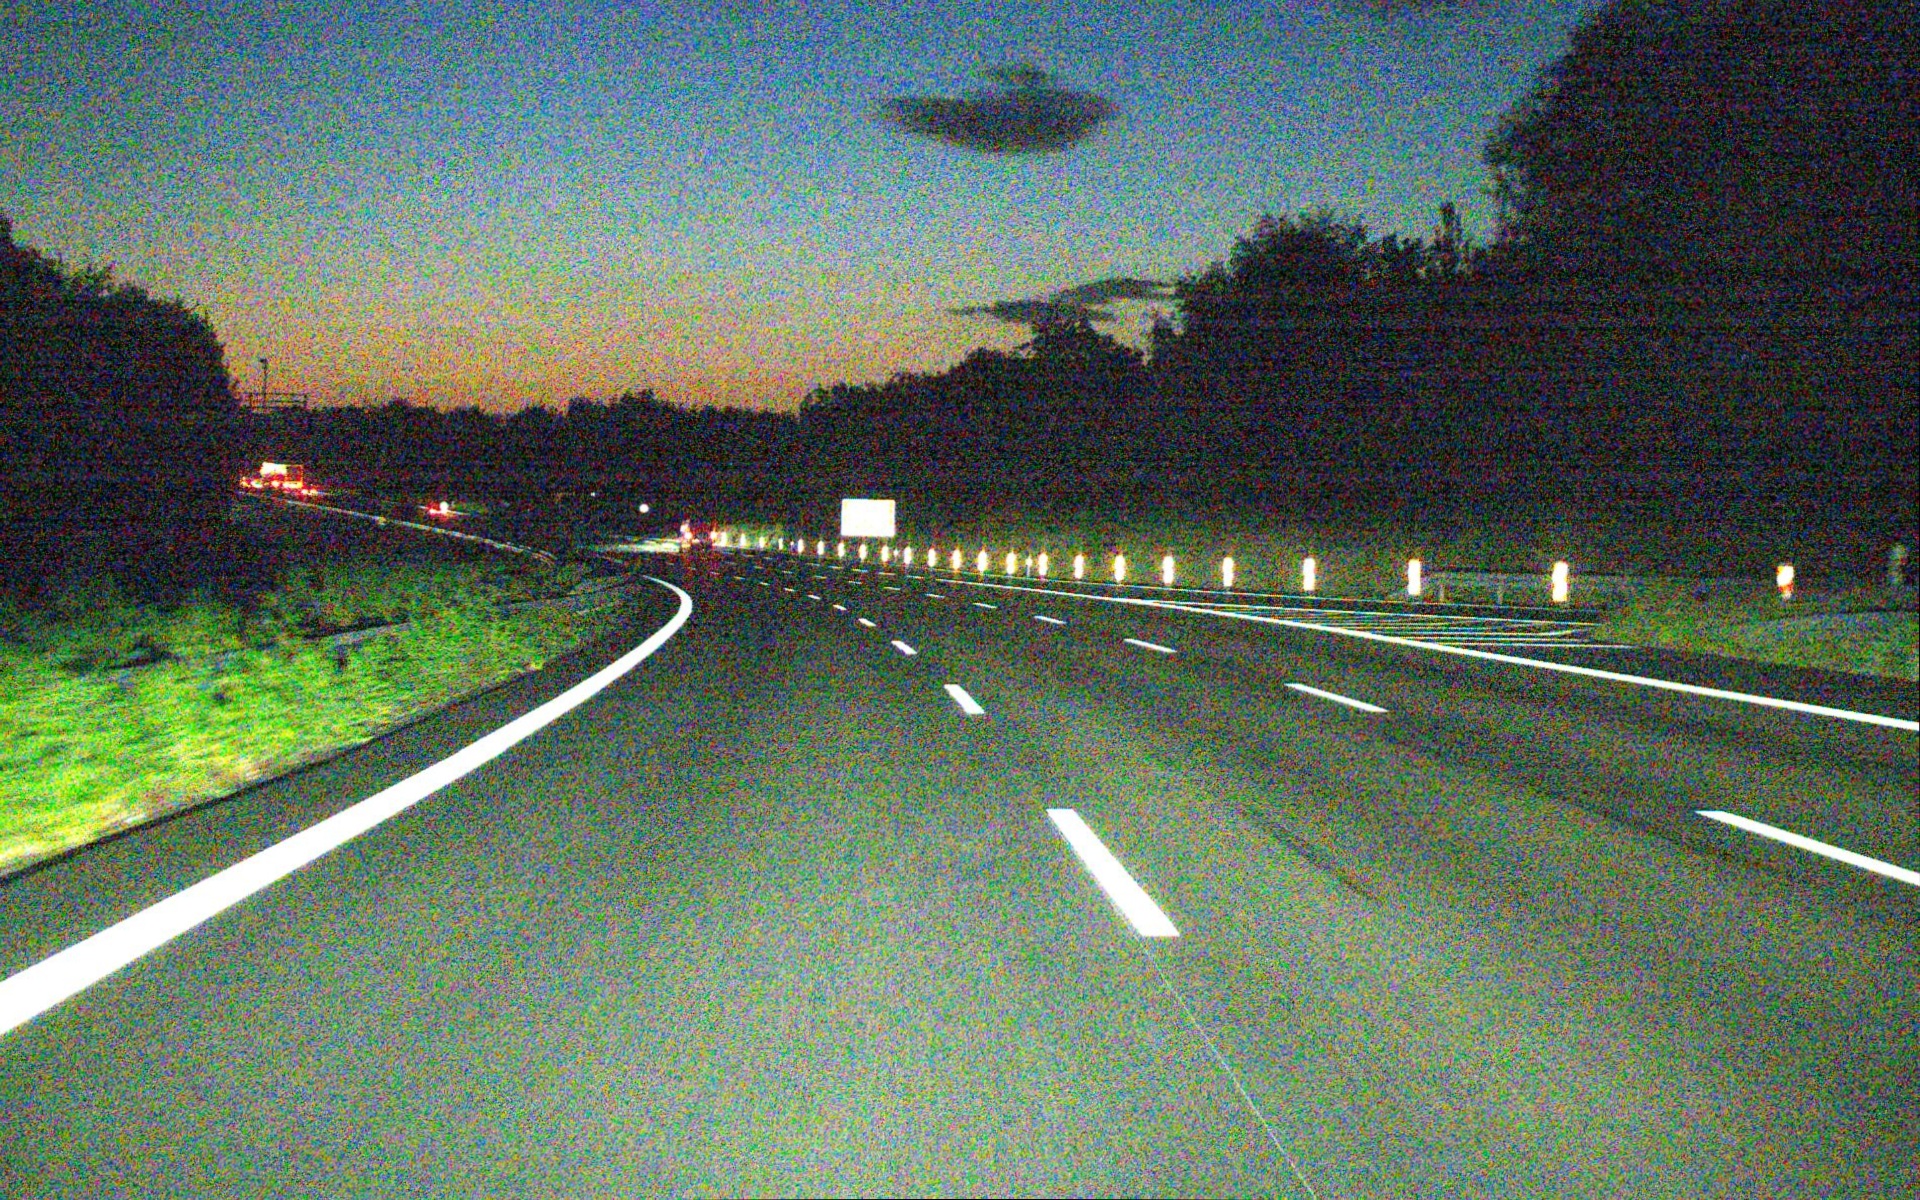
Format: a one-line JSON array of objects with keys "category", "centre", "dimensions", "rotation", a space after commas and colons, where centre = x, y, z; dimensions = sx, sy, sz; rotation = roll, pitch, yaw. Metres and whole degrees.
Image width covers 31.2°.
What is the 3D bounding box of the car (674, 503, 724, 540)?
[{"category": "car", "centre": [-19.039, -5.733, 250.267], "dimensions": [2.527, 2.544, 6.053], "rotation": [1, 2, -14]}]
